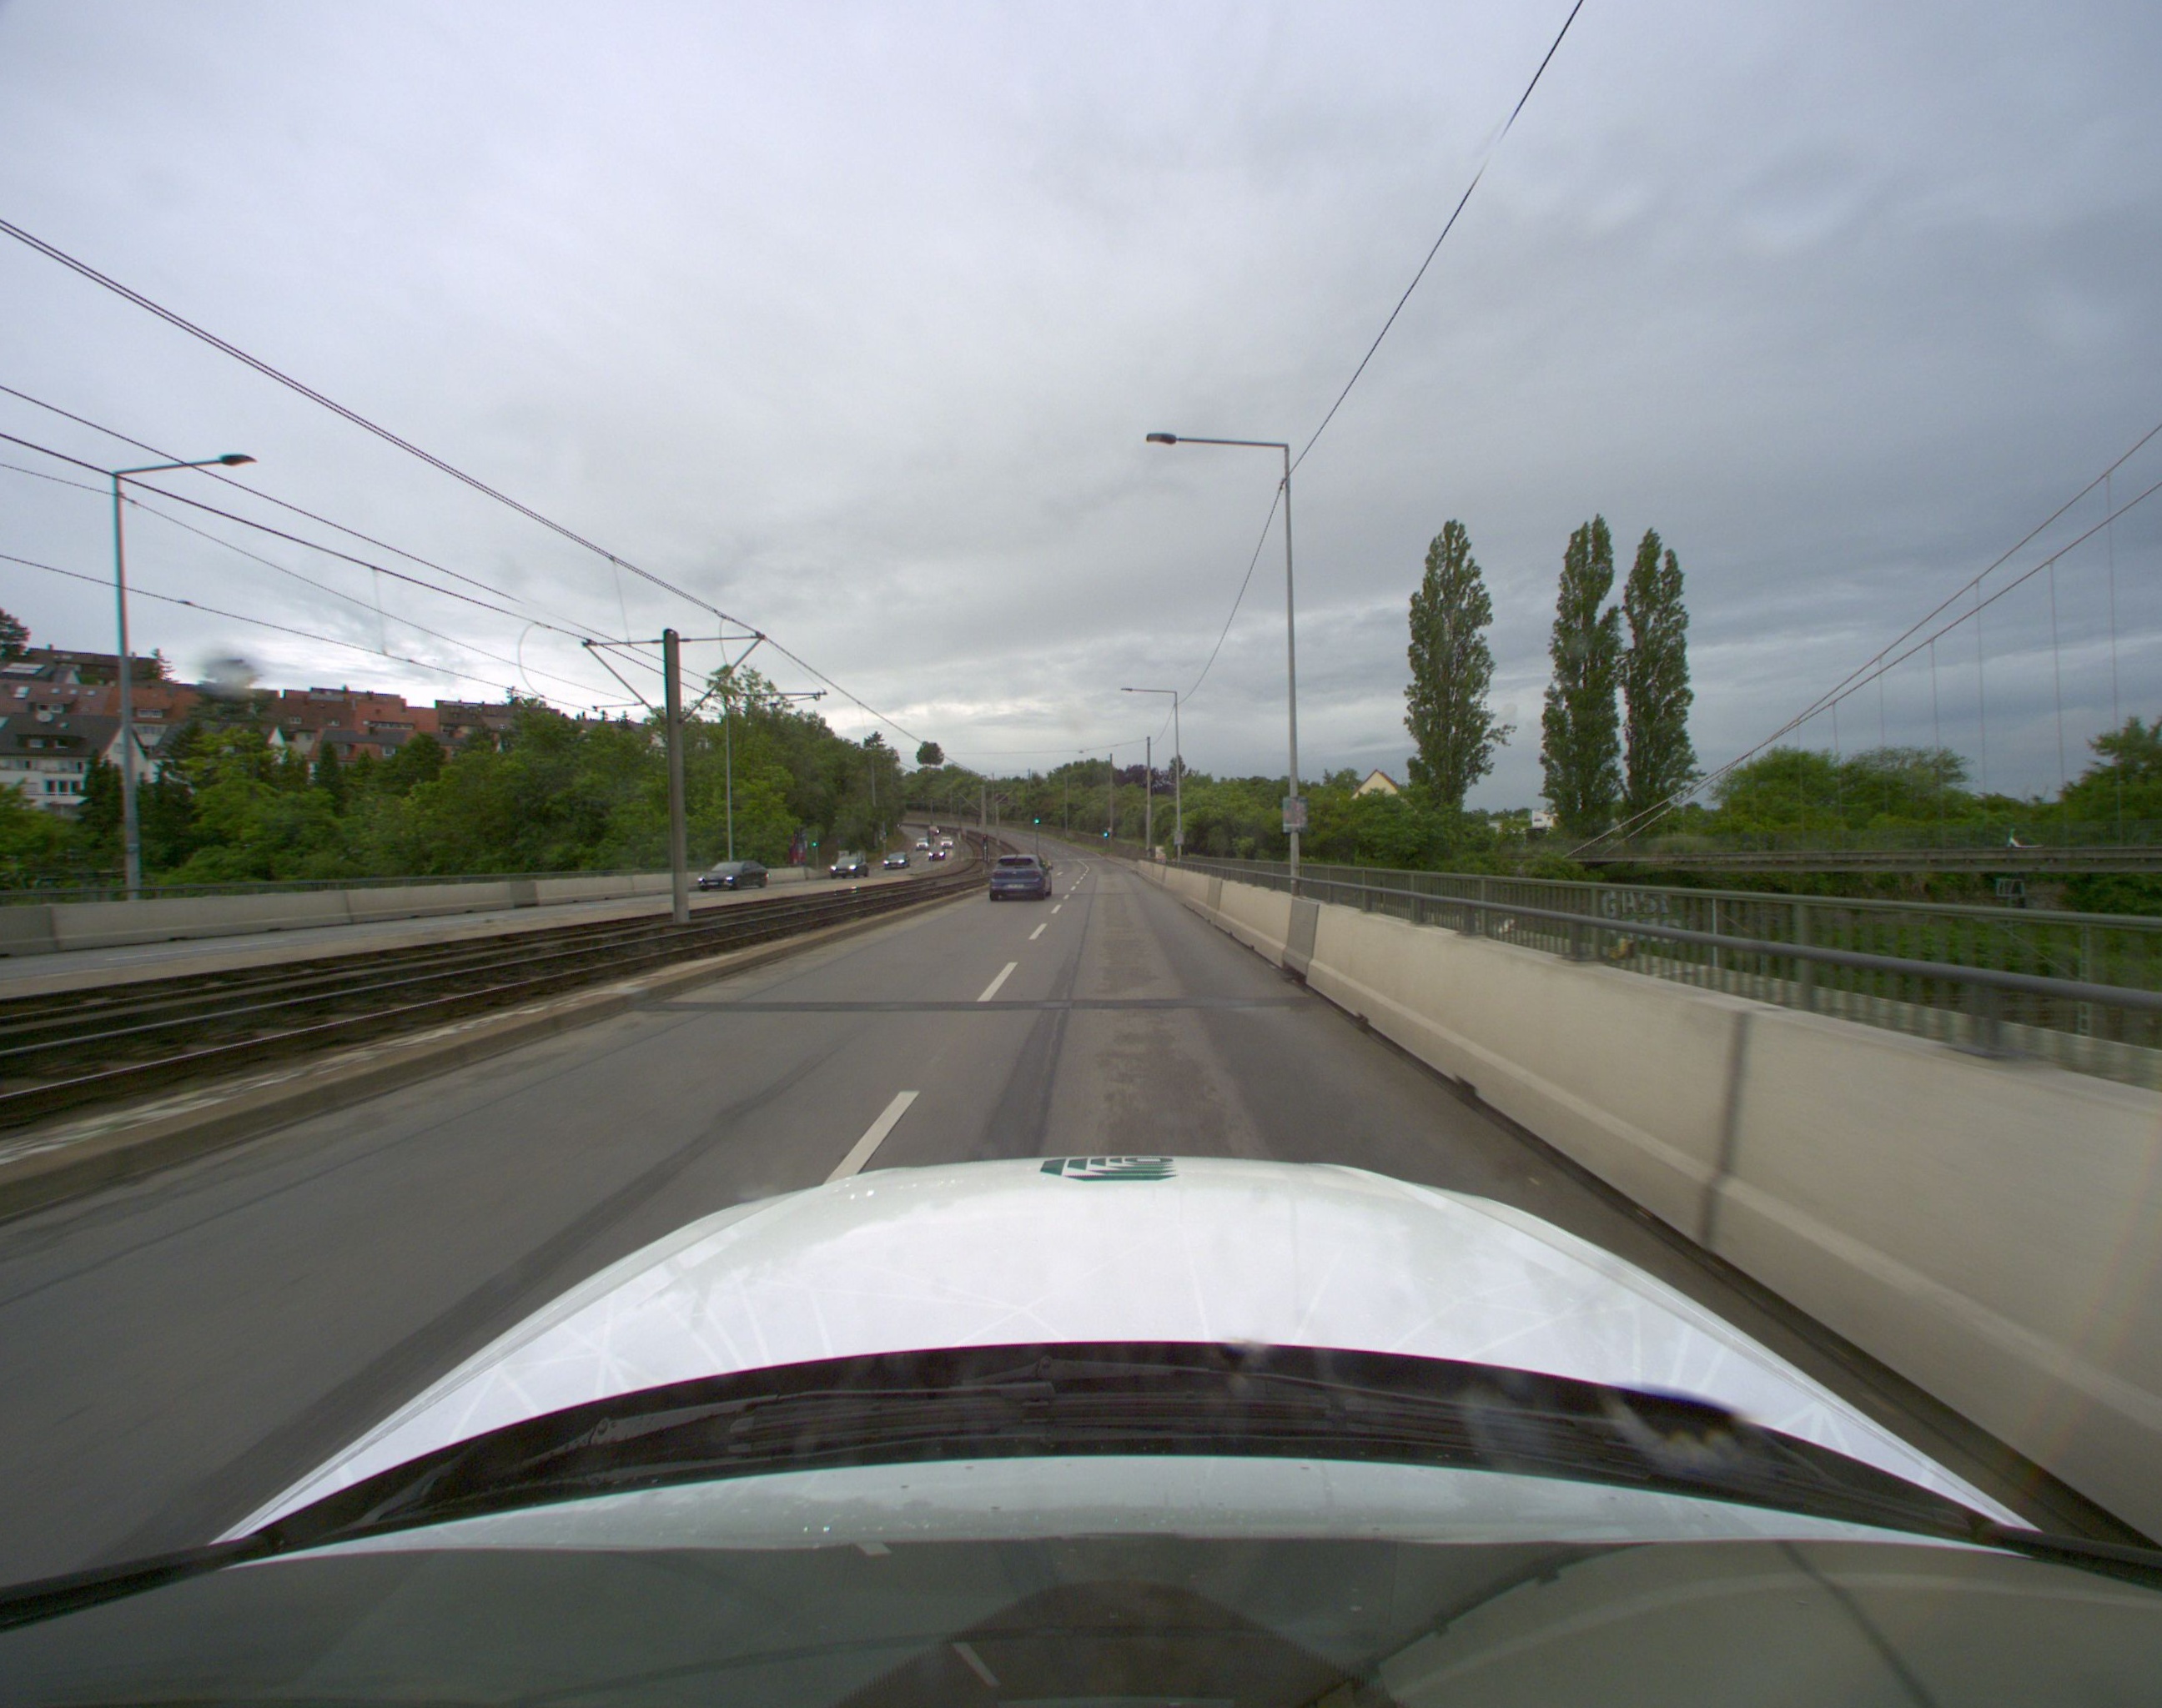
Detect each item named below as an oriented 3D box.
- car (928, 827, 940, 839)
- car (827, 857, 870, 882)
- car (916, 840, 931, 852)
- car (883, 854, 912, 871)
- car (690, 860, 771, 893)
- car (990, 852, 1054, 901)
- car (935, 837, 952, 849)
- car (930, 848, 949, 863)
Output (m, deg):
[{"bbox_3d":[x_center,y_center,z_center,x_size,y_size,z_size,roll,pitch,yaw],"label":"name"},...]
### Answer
[{"bbox_3d":[-27.114,-3.864,150.051,1.850,1.596,4.714,-3,7,-13],"label":"car"},{"bbox_3d":[-16.992,1.081,59.627,1.892,1.597,4.728,-2,1,-2],"label":"car"},{"bbox_3d":[-21.345,-1.010,110.623,1.821,1.515,4.515,-1,0,-9],"label":"car"},{"bbox_3d":[-17.820,0.843,79.225,1.965,1.597,5.176,-2,-1,-4],"label":"car"},{"bbox_3d":[-17.361,1.089,40.624,1.809,1.436,4.743,-1,0,2],"label":"car"},{"bbox_3d":[-1.900,0.700,27.202,1.757,1.501,4.000,0,0,1],"label":"car"},{"bbox_3d":[-19.085,-1.474,112.950,1.733,1.437,4.468,-2,-1,-15],"label":"car"},{"bbox_3d":[-15.741,0.167,90.401,1.596,1.493,3.016,-2,1,-2],"label":"car"}]
